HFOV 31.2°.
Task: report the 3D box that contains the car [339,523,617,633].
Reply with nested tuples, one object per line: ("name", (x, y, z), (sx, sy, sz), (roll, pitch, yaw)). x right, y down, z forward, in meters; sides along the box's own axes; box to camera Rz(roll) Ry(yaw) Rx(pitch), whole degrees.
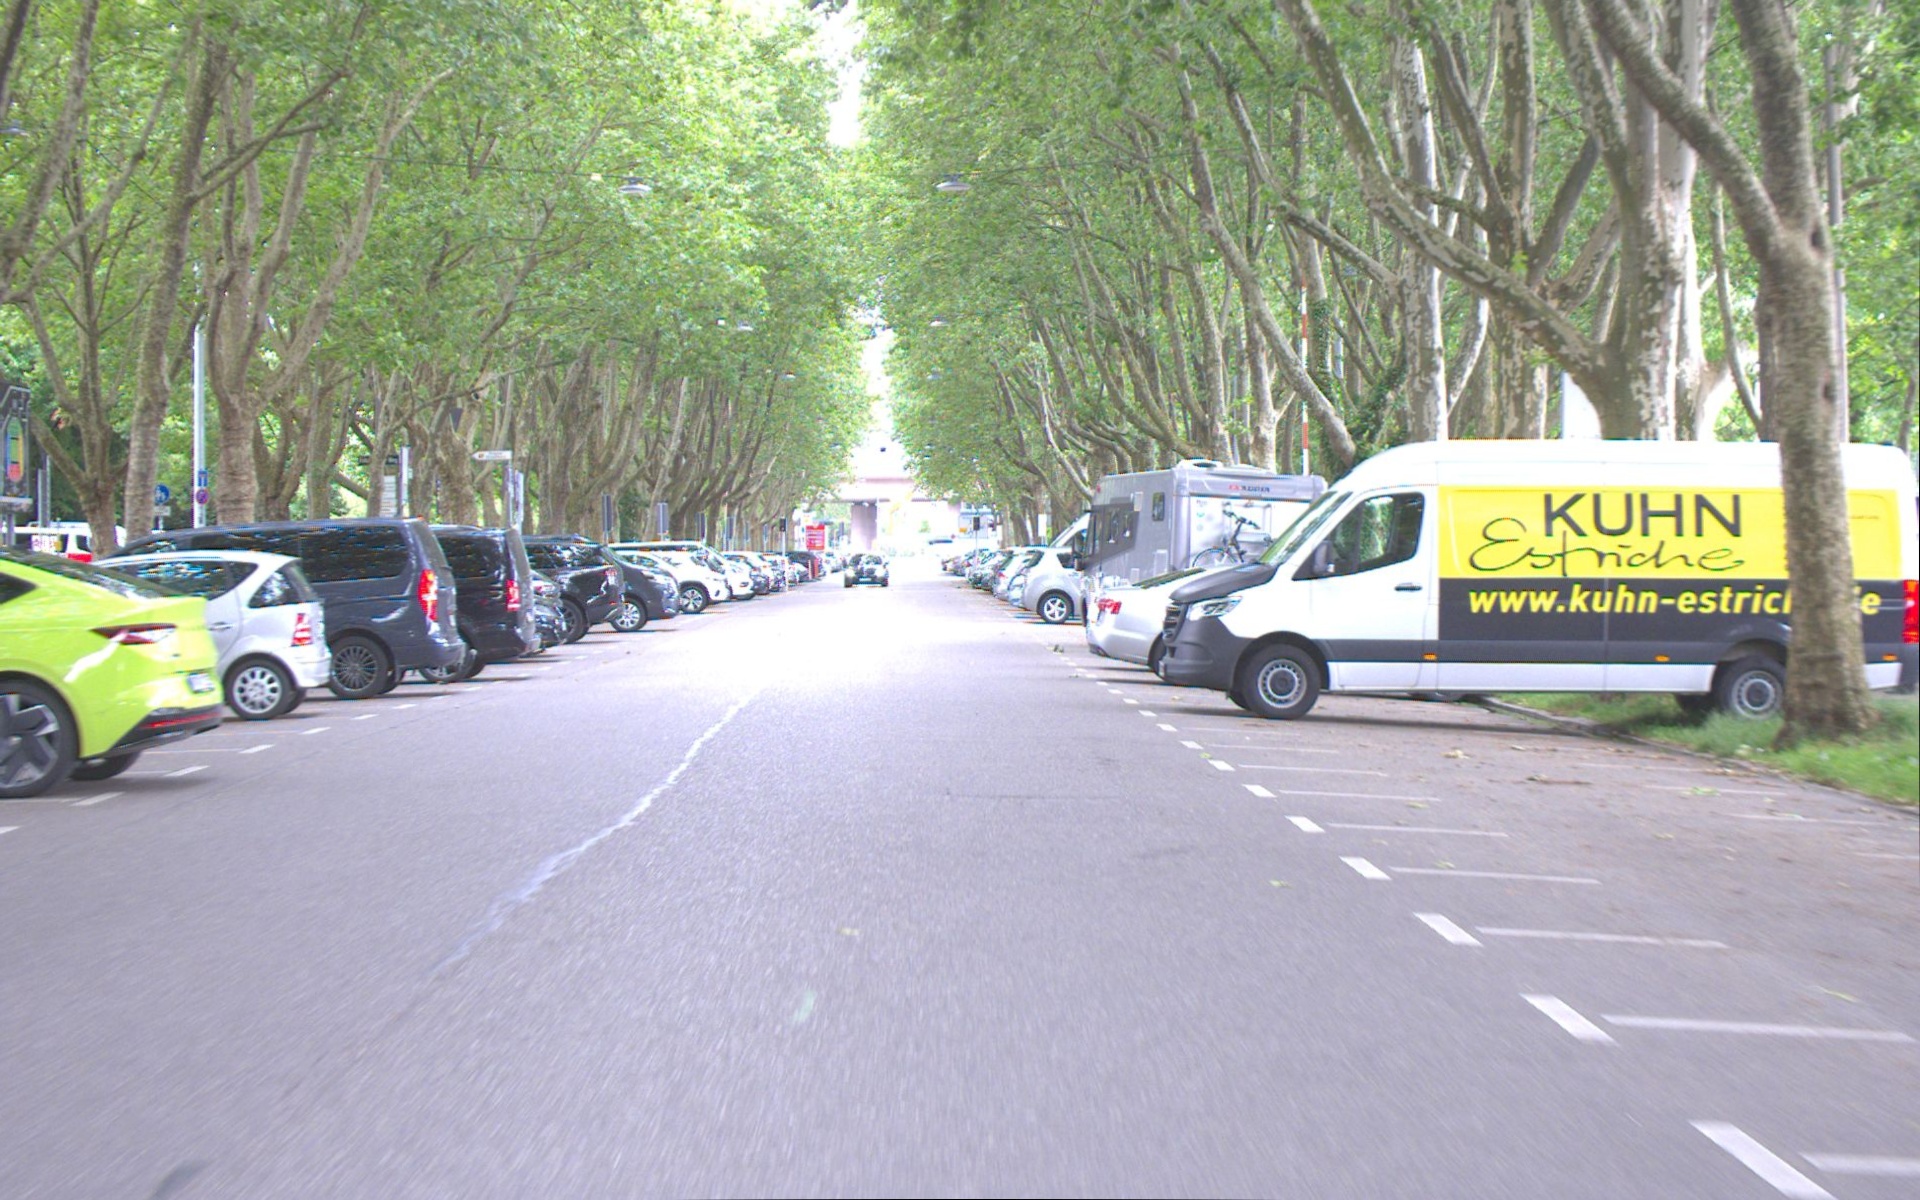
("car", (-8.318, -0.372, 59.209), (4.652, 1.814, 1.806), (-1, -1, -10))

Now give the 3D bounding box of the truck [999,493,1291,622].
("truck", (4.056, -0.931, 75.656), (6.294, 2.706, 2.098), (1, 0, 2))

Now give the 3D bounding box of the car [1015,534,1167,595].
("car", (3.916, -1.066, 103.277), (4.384, 1.749, 1.801), (1, 0, -2))

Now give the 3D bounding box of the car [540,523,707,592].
("car", (-9.096, -1.161, 93.201), (4.340, 1.662, 2.000), (-3, 1, -2))

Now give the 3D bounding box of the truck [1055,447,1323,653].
("truck", (3.406, -0.766, 53.198), (2.457, 2.928, 7.540), (1, 1, -9))

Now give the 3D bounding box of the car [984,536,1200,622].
("car", (2.725, -0.438, 70.797), (4.340, 1.612, 1.803), (2, 1, 2))

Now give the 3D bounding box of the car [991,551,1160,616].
("car", (2.884, -0.409, 85.968), (4.120, 1.424, 1.703), (3, 0, 1))

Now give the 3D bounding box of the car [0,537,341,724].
("car", (-7.908, 0.285, 31.757), (4.104, 1.563, 1.758), (-2, 1, -5))

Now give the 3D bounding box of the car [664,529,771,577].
("car", (-8.849, -1.718, 125.507), (3.826, 1.622, 1.953), (-2, 1, -3))

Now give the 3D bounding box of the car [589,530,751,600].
("car", (-9.102, -1.098, 108.201), (4.893, 2.012, 1.920), (-2, 0, -1))

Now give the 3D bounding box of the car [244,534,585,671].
("car", (-7.880, 0.019, 49.890), (4.579, 1.775, 1.798), (-2, 2, 1))

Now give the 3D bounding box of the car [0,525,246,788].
("car", (-7.030, 0.347, 22.031), (4.516, 1.612, 1.758), (0, 1, 2))

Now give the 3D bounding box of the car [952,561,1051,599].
("car", (1.807, -0.872, 149.691), (4.166, 1.591, 1.855), (1, 0, -4))

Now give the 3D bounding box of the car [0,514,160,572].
("car", (-35.537, -2.306, 138.791), (6.001, 2.245, 2.000), (1, 0, -1))

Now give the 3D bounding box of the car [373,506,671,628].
("car", (-8.352, -0.640, 65.930), (5.435, 2.120, 1.940), (-2, 1, -2))

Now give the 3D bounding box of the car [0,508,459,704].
("car", (-7.848, 0.047, 36.810), (4.761, 1.917, 2.018), (-2, 1, -5))

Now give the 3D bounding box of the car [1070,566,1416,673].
("car", (3.627, 0.240, 44.574), (4.320, 1.297, 1.700), (1, 0, 0))

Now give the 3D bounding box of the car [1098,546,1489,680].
("car", (3.793, 0.136, 39.481), (4.359, 1.440, 1.612), (1, 0, 3))

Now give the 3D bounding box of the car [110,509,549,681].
("car", (-7.631, -0.076, 42.001), (4.905, 1.917, 2.208), (-1, 1, 0))

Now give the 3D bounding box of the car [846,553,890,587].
("car", (-4.034, -1.301, 149.697), (1.654, 1.359, 4.113), (-3, 1, -4))

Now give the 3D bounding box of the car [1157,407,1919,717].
("car", (5.348, -0.357, 31.985), (6.881, 2.686, 2.127), (1, 0, 1))

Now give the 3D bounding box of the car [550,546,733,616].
("car", (-7.878, -0.479, 85.326), (4.379, 1.591, 2.000), (-2, 1, -2))
